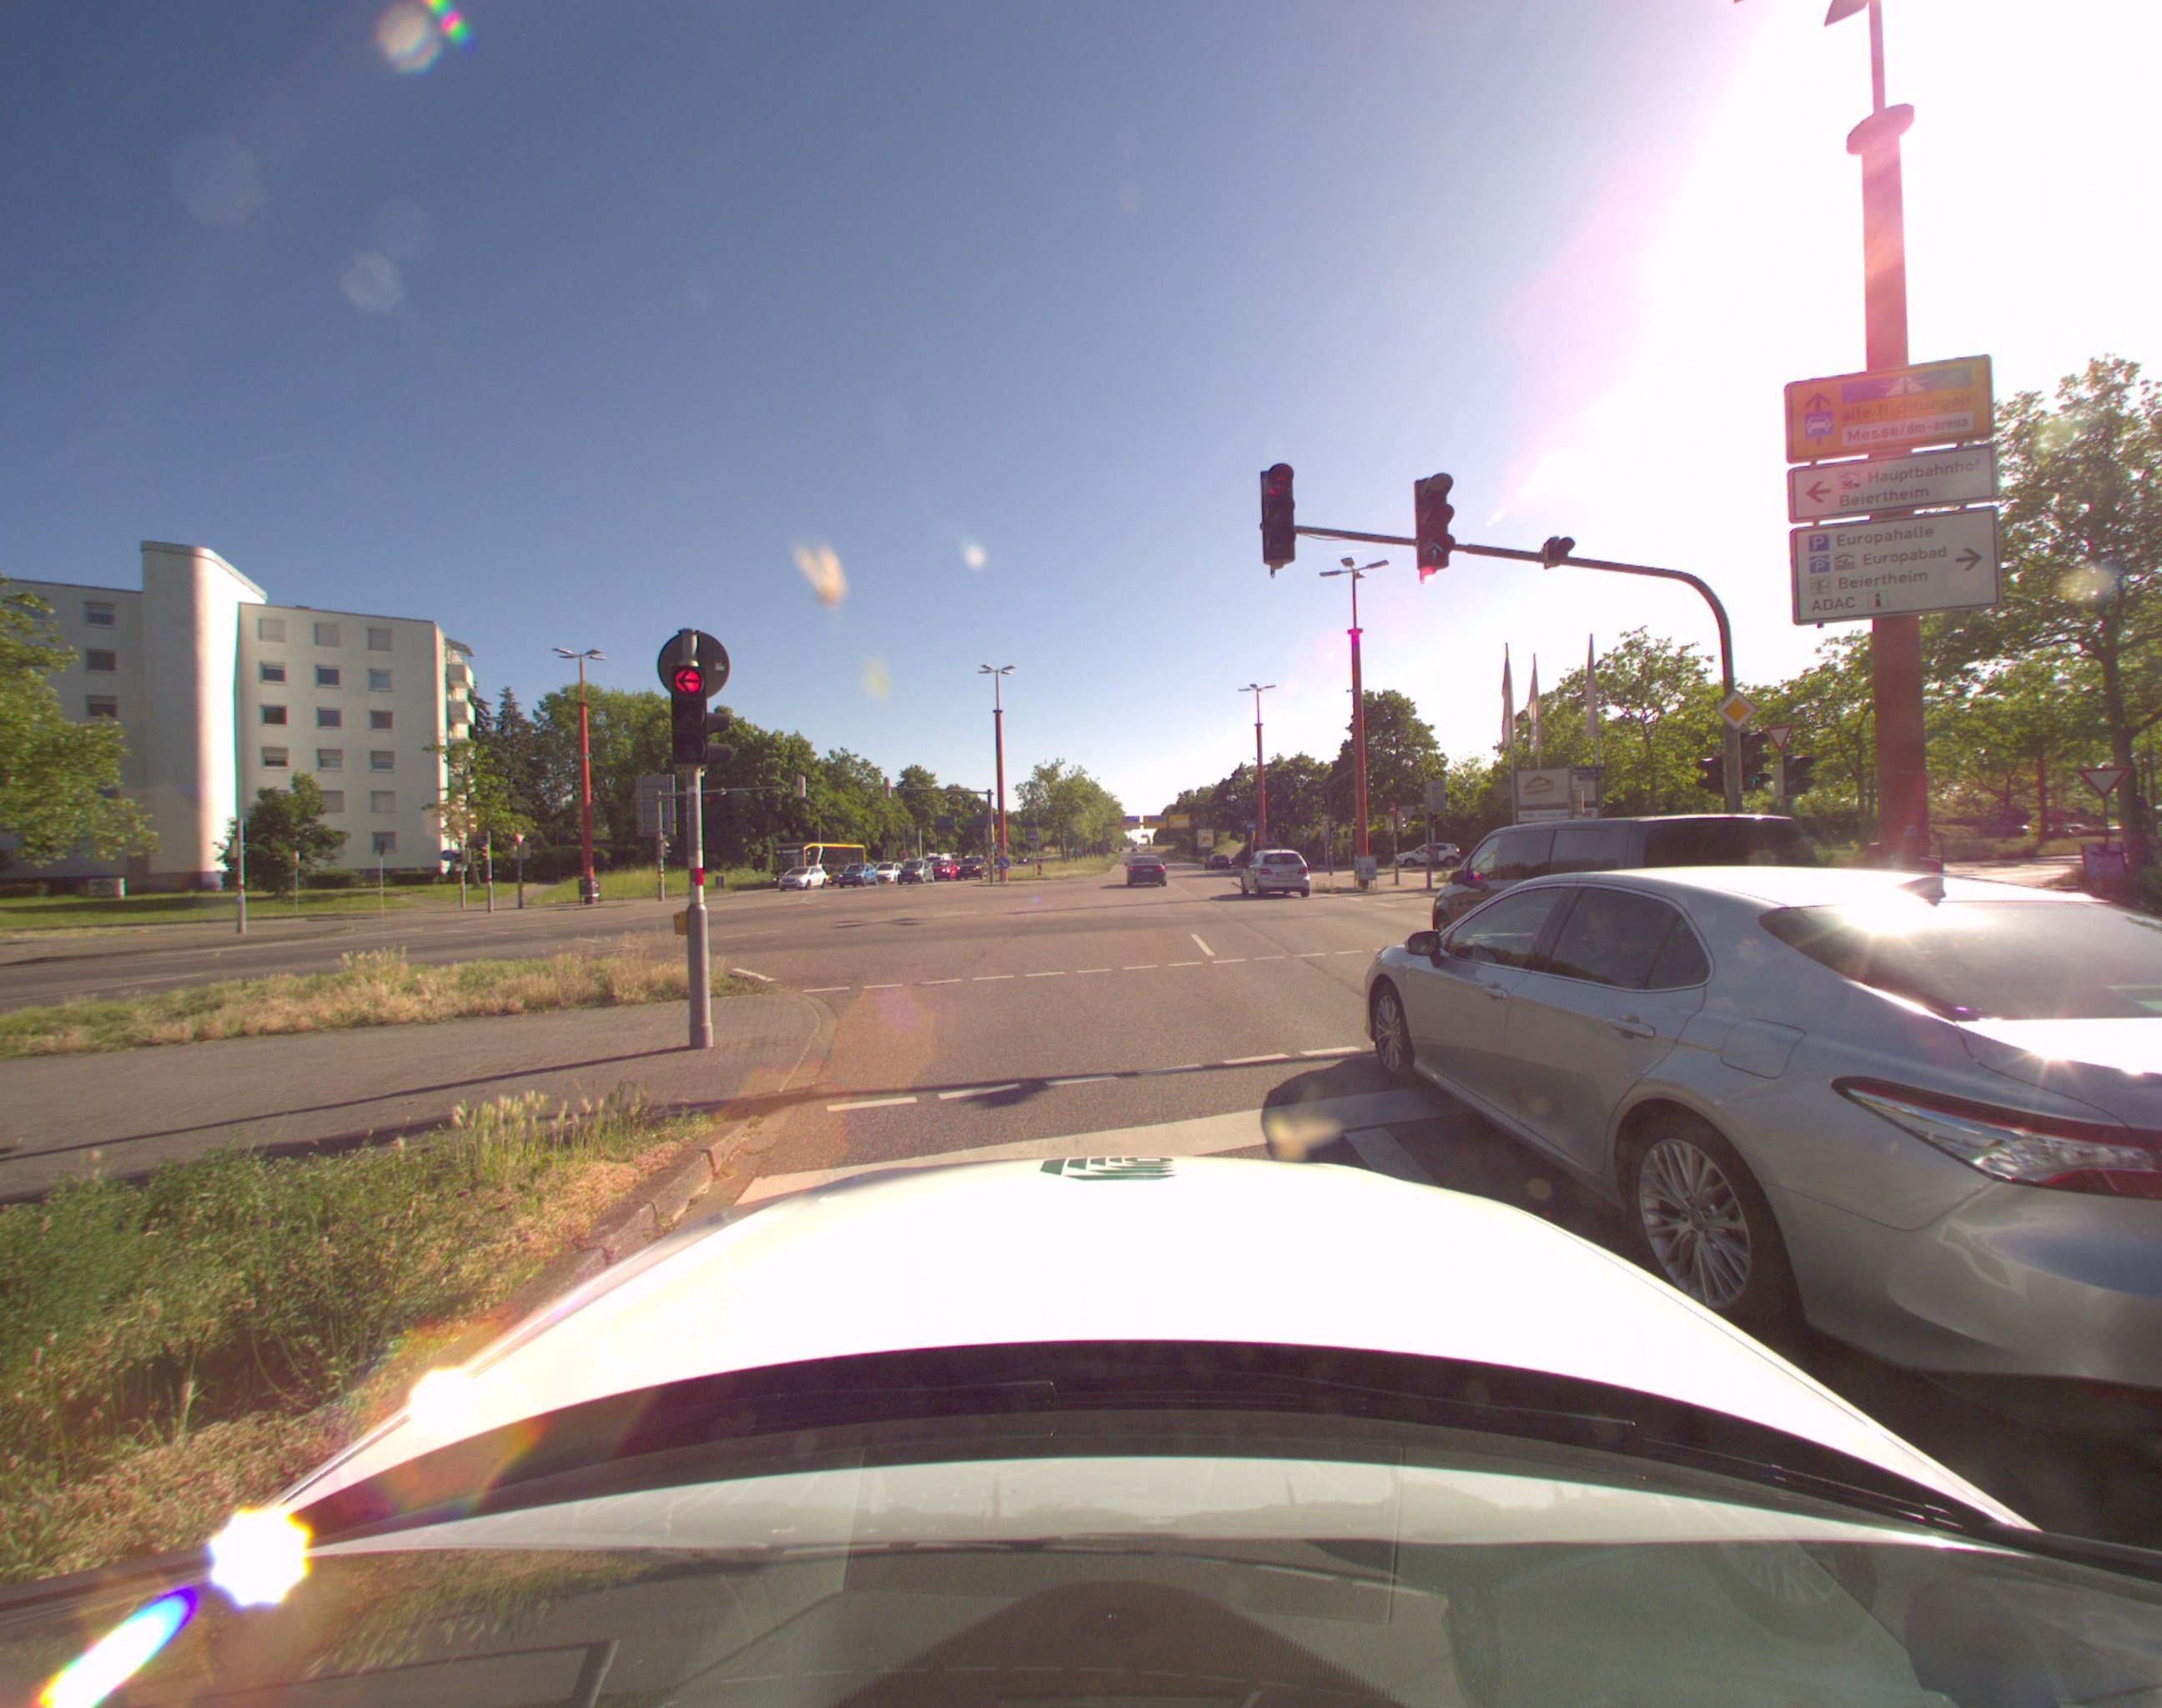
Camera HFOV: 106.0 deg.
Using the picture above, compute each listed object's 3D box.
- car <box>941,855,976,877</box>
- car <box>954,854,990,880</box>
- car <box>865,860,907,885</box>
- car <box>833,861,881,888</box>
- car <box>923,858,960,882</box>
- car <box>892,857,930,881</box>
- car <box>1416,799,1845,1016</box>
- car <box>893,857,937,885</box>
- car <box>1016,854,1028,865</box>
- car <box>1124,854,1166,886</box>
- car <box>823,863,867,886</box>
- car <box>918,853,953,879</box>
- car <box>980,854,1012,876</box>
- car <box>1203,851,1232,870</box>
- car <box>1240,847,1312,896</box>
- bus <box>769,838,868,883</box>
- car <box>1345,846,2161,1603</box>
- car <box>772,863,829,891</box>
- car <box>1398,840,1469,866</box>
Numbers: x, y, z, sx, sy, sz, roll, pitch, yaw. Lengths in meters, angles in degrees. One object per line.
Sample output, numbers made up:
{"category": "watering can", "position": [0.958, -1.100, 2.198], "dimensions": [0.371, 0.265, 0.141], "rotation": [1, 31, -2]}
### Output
{"category": "car", "position": [-9.744, 0.926, 65.020], "dimensions": [1.893, 1.630, 4.003], "rotation": [-1, 0, 3]}
{"category": "car", "position": [-7.525, 0.851, 56.702], "dimensions": [1.787, 1.626, 4.144], "rotation": [-3, 0, 1]}
{"category": "car", "position": [-13.771, 1.280, 57.762], "dimensions": [1.895, 1.555, 4.000], "rotation": [-3, 0, 0]}
{"category": "car", "position": [-14.134, 1.279, 51.616], "dimensions": [1.794, 1.515, 3.861], "rotation": [-3, 0, 2]}
{"category": "car", "position": [-10.064, 1.118, 59.023], "dimensions": [1.869, 1.552, 4.000], "rotation": [-5, 0, 0]}
{"category": "car", "position": [-13.356, 1.136, 64.250], "dimensions": [1.866, 1.784, 4.004], "rotation": [-2, 0, 3]}
{"category": "car", "position": [5.899, 0.475, 9.747], "dimensions": [1.797, 1.852, 5.106], "rotation": [-2, 0, 2]}
{"category": "car", "position": [-10.692, 1.072, 52.696], "dimensions": [1.867, 1.550, 4.029], "rotation": [-3, 0, 2]}
{"category": "car", "position": [-11.216, 0.987, 155.203], "dimensions": [1.913, 1.999, 4.605], "rotation": [-2, 0, 1]}
{"category": "car", "position": [3.032, 0.741, 39.331], "dimensions": [1.758, 1.441, 4.295], "rotation": [0, 0, 1]}
{"category": "car", "position": [-17.554, 1.495, 60.679], "dimensions": [1.877, 1.513, 4.003], "rotation": [-3, 0, 3]}
{"category": "car", "position": [-12.720, 0.992, 71.301], "dimensions": [1.954, 2.155, 5.083], "rotation": [-2, 0, 1]}
{"category": "car", "position": [-6.675, 0.856, 64.166], "dimensions": [1.878, 1.543, 4.002], "rotation": [-3, 0, 2]}
{"category": "car", "position": [12.441, 0.597, 74.393], "dimensions": [1.759, 1.635, 4.295], "rotation": [0, -1, -1]}
{"category": "car", "position": [6.760, 0.592, 28.571], "dimensions": [1.709, 1.608, 3.849], "rotation": [0, -1, 2]}
{"category": "bus", "position": [-20.745, 0.544, 65.541], "dimensions": [2.632, 3.261, 12.558], "rotation": [0, 0, 7]}
{"category": "car", "position": [2.870, 0.724, 3.944], "dimensions": [1.798, 1.493, 4.684], "rotation": [0, 0, 2]}
{"category": "car", "position": [-17.641, 1.416, 51.416], "dimensions": [1.869, 1.652, 4.222], "rotation": [-3, -1, 3]}
{"category": "car", "position": [23.889, -0.078, 55.385], "dimensions": [4.249, 1.635, 1.778], "rotation": [-2, 0, 18]}
